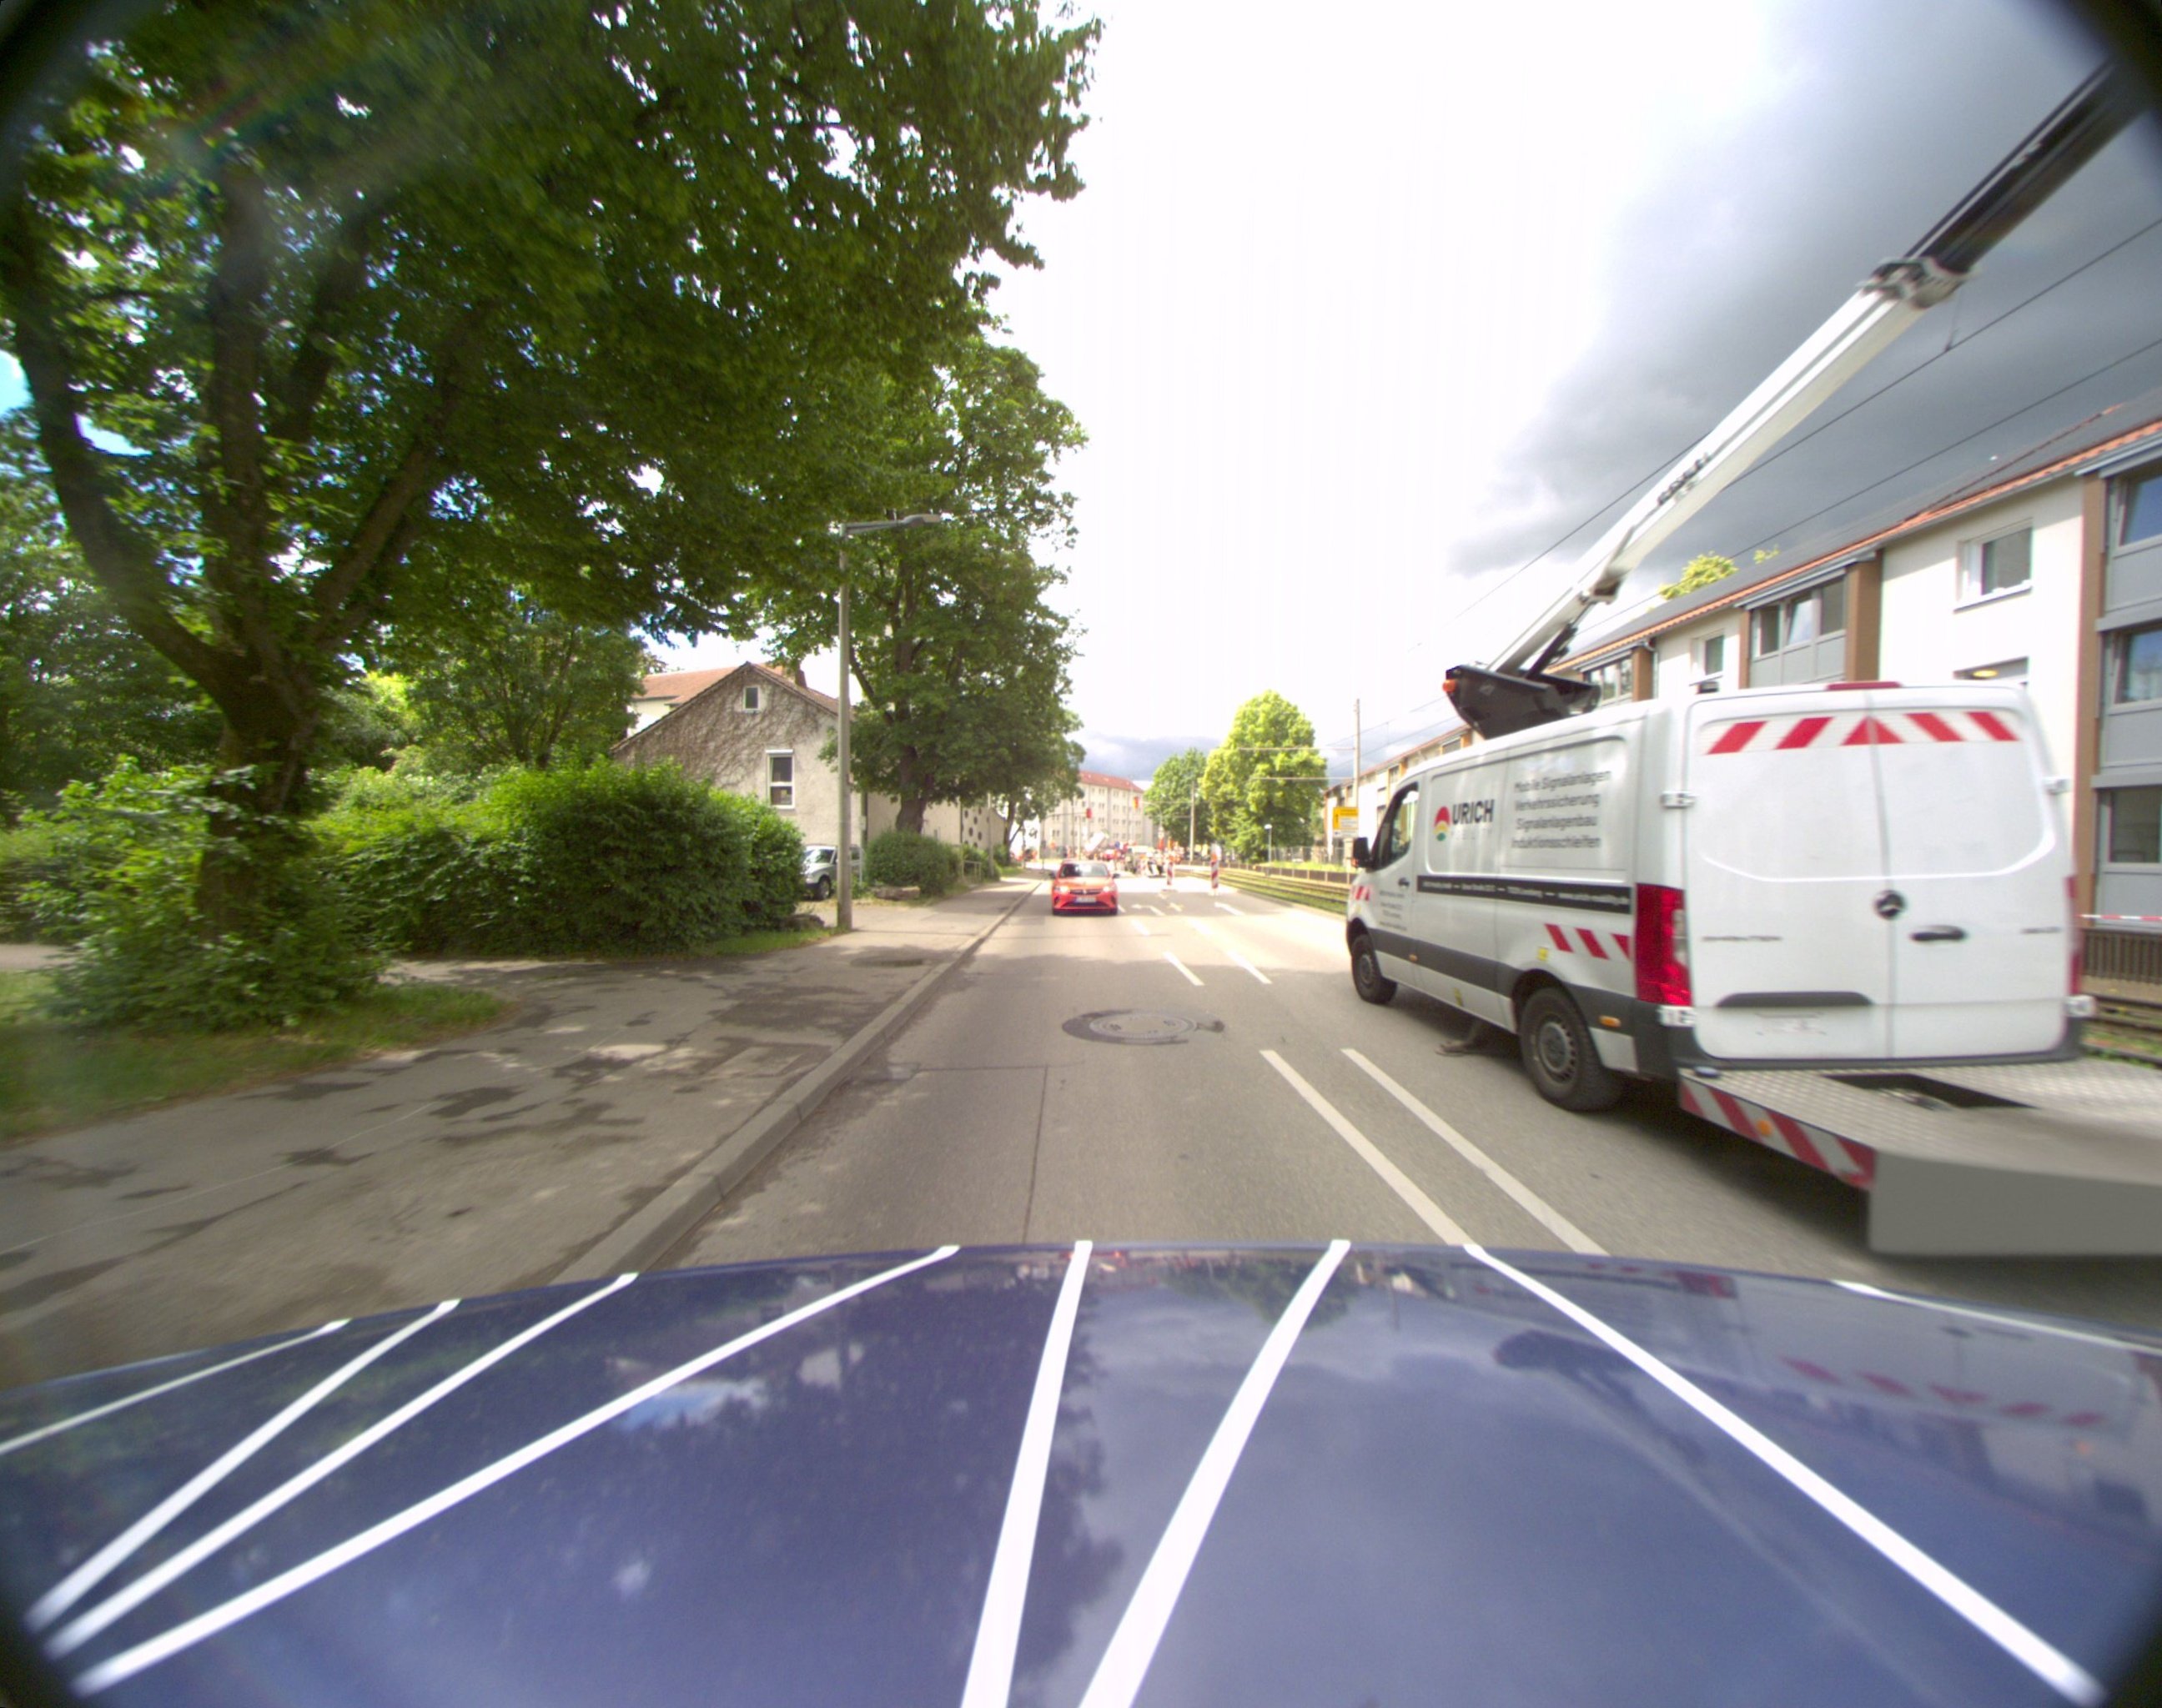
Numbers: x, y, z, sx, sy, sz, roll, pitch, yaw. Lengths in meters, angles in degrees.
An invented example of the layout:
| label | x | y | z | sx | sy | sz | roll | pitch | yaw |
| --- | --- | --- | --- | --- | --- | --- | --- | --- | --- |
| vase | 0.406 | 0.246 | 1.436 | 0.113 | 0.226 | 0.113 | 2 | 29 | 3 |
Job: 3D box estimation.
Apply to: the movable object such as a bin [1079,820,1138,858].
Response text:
| label | x | y | z | sx | sy | sz | roll | pitch | yaw |
| --- | --- | --- | --- | --- | --- | --- | --- | --- | --- |
| movable object such as a bin | 4.266 | -2.187 | 116.555 | 9.054 | 5.453 | 2.813 | 1 | 0 | -35 |

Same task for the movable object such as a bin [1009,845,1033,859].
| label | x | y | z | sx | sy | sz | roll | pitch | yaw |
| --- | --- | --- | --- | --- | --- | --- | --- | --- | --- |
| movable object such as a bin | -9.115 | -0.306 | 115.683 | 2.959 | 2.002 | 2.004 | 1 | 0 | 37 |

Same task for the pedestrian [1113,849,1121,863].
| label | x | y | z | sx | sy | sz | roll | pitch | yaw |
| --- | --- | --- | --- | --- | --- | --- | --- | --- | --- |
| pedestrian | 4.928 | 0.241 | 104.248 | 0.796 | 1.822 | 0.970 | 0 | 2 | -10 |

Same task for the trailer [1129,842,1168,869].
| label | x | y | z | sx | sy | sz | roll | pitch | yaw |
| --- | --- | --- | --- | --- | --- | --- | --- | --- | --- |
| trailer | 5.758 | 0.133 | 65.292 | 2.669 | 2.201 | 6.247 | 0 | 0 | -1 |

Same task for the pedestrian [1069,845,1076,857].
| label | x | y | z | sx | sy | sz | roll | pitch | yaw |
| --- | --- | --- | --- | --- | --- | --- | --- | --- | --- |
| pedestrian | -1.291 | -0.403 | 120.895 | 0.882 | 1.897 | 0.665 | 0 | 2 | -27 |

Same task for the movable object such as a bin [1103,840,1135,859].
| label | x | y | z | sx | sy | sz | roll | pitch | yaw |
| --- | --- | --- | --- | --- | --- | --- | --- | --- | --- |
| movable object such as a bin | 5.587 | -0.724 | 111.471 | 2.110 | 2.653 | 5.598 | 1 | 2 | 33 |

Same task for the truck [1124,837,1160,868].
| label | x | y | z | sx | sy | sz | roll | pitch | yaw |
| --- | --- | --- | --- | --- | --- | --- | --- | --- | --- |
| truck | 5.666 | -0.145 | 71.591 | 2.669 | 2.709 | 6.394 | 0 | 0 | -1 |

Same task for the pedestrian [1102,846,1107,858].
| label | x | y | z | sx | sy | sz | roll | pitch | yaw |
| --- | --- | --- | --- | --- | --- | --- | --- | --- | --- |
| pedestrian | 3.526 | -0.279 | 113.433 | 0.611 | 1.778 | 0.583 | -1 | 0 | 31 |

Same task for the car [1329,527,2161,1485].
| label | x | y | z | sx | sy | sz | roll | pitch | yaw |
| --- | --- | --- | --- | --- | --- | --- | --- | --- | --- |
| car | 3.656 | 0.361 | 5.061 | 1.998 | 2.416 | 6.322 | -2 | 0 | 1 |

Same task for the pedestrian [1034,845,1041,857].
| label | x | y | z | sx | sy | sz | roll | pitch | yaw |
| --- | --- | --- | --- | --- | --- | --- | --- | --- | --- |
| pedestrian | -6.518 | -0.394 | 114.263 | 0.767 | 1.828 | 0.785 | 1 | 1 | 25 |

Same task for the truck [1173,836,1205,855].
| label | x | y | z | sx | sy | sz | roll | pitch | yaw |
| --- | --- | --- | --- | --- | --- | --- | --- | --- | --- |
| truck | 15.776 | -1.219 | 110.693 | 2.412 | 2.553 | 5.595 | 1 | 1 | 32 |

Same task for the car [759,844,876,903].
| label | x | y | z | sx | sy | sz | roll | pitch | yaw |
| --- | --- | --- | --- | --- | --- | --- | --- | --- | --- |
| car | -8.149 | 0.543 | 23.905 | 1.815 | 1.640 | 4.002 | 1 | 1 | 8 |

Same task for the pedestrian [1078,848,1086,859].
| label | x | y | z | sx | sy | sz | roll | pitch | yaw |
| --- | --- | --- | --- | --- | --- | --- | --- | --- | --- |
| pedestrian | 0.171 | -0.096 | 119.904 | 0.872 | 1.813 | 1.098 | 1 | 1 | 27 |

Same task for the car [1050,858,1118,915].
| label | x | y | z | sx | sy | sz | roll | pitch | yaw |
| --- | --- | --- | --- | --- | --- | --- | --- | --- | --- |
| car | 0.147 | 0.861 | 21.841 | 1.769 | 1.425 | 3.839 | -1 | 0 | 2 |
